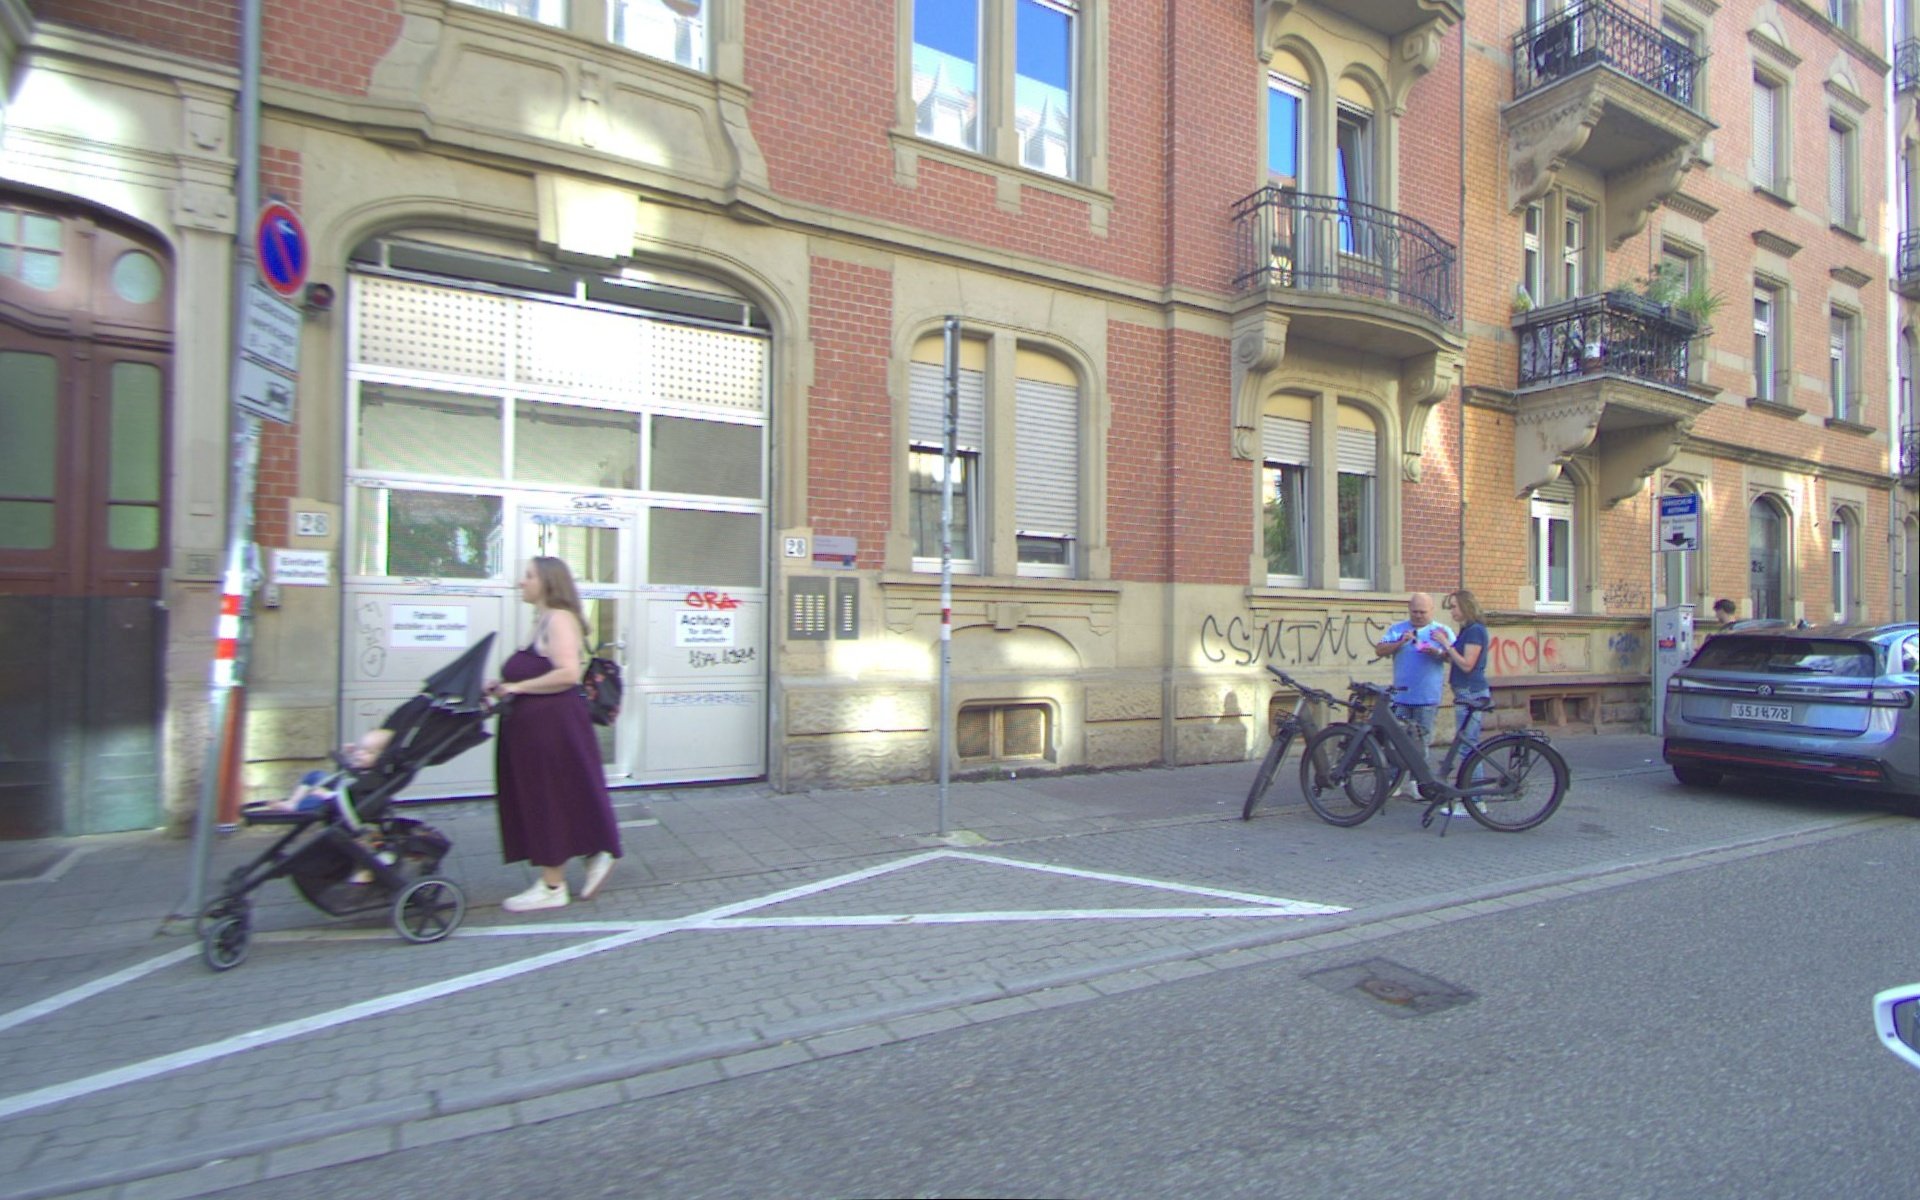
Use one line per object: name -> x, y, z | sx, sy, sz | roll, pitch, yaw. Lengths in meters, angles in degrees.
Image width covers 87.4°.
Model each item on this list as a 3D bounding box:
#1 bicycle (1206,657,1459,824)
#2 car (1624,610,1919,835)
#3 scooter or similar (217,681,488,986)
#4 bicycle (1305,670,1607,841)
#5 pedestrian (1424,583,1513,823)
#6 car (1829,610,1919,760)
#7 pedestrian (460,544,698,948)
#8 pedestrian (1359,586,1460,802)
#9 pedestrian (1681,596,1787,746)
bicycle -> 2.773, 1.004, 7.448 | 1.876, 1.110, 0.492 | 2, 0, -21
car -> 8.466, 0.947, 9.442 | 5.207, 1.599, 1.814 | 2, 0, -33
scooter or similar -> -2.566, 0.915, 4.270 | 0.913, 1.069, 0.601 | 1, 0, -35
bicycle -> 3.405, 1.064, 6.943 | 1.868, 1.073, 0.483 | 2, 0, -6
pedestrian -> 3.869, 0.745, 7.674 | 0.555, 1.732, 0.667 | 1, 0, 26
car -> 13.050, 0.998, 12.713 | 4.842, 1.703, 1.862 | 1, 0, -33
pedestrian -> -1.835, 0.612, 4.800 | 0.820, 1.683, 0.904 | 1, 0, -37
pedestrian -> 3.700, 0.738, 8.255 | 0.669, 1.683, 0.550 | 1, 0, 31
pedestrian -> 9.878, 0.874, 12.827 | 0.851, 1.832, 0.754 | 1, 0, -26
